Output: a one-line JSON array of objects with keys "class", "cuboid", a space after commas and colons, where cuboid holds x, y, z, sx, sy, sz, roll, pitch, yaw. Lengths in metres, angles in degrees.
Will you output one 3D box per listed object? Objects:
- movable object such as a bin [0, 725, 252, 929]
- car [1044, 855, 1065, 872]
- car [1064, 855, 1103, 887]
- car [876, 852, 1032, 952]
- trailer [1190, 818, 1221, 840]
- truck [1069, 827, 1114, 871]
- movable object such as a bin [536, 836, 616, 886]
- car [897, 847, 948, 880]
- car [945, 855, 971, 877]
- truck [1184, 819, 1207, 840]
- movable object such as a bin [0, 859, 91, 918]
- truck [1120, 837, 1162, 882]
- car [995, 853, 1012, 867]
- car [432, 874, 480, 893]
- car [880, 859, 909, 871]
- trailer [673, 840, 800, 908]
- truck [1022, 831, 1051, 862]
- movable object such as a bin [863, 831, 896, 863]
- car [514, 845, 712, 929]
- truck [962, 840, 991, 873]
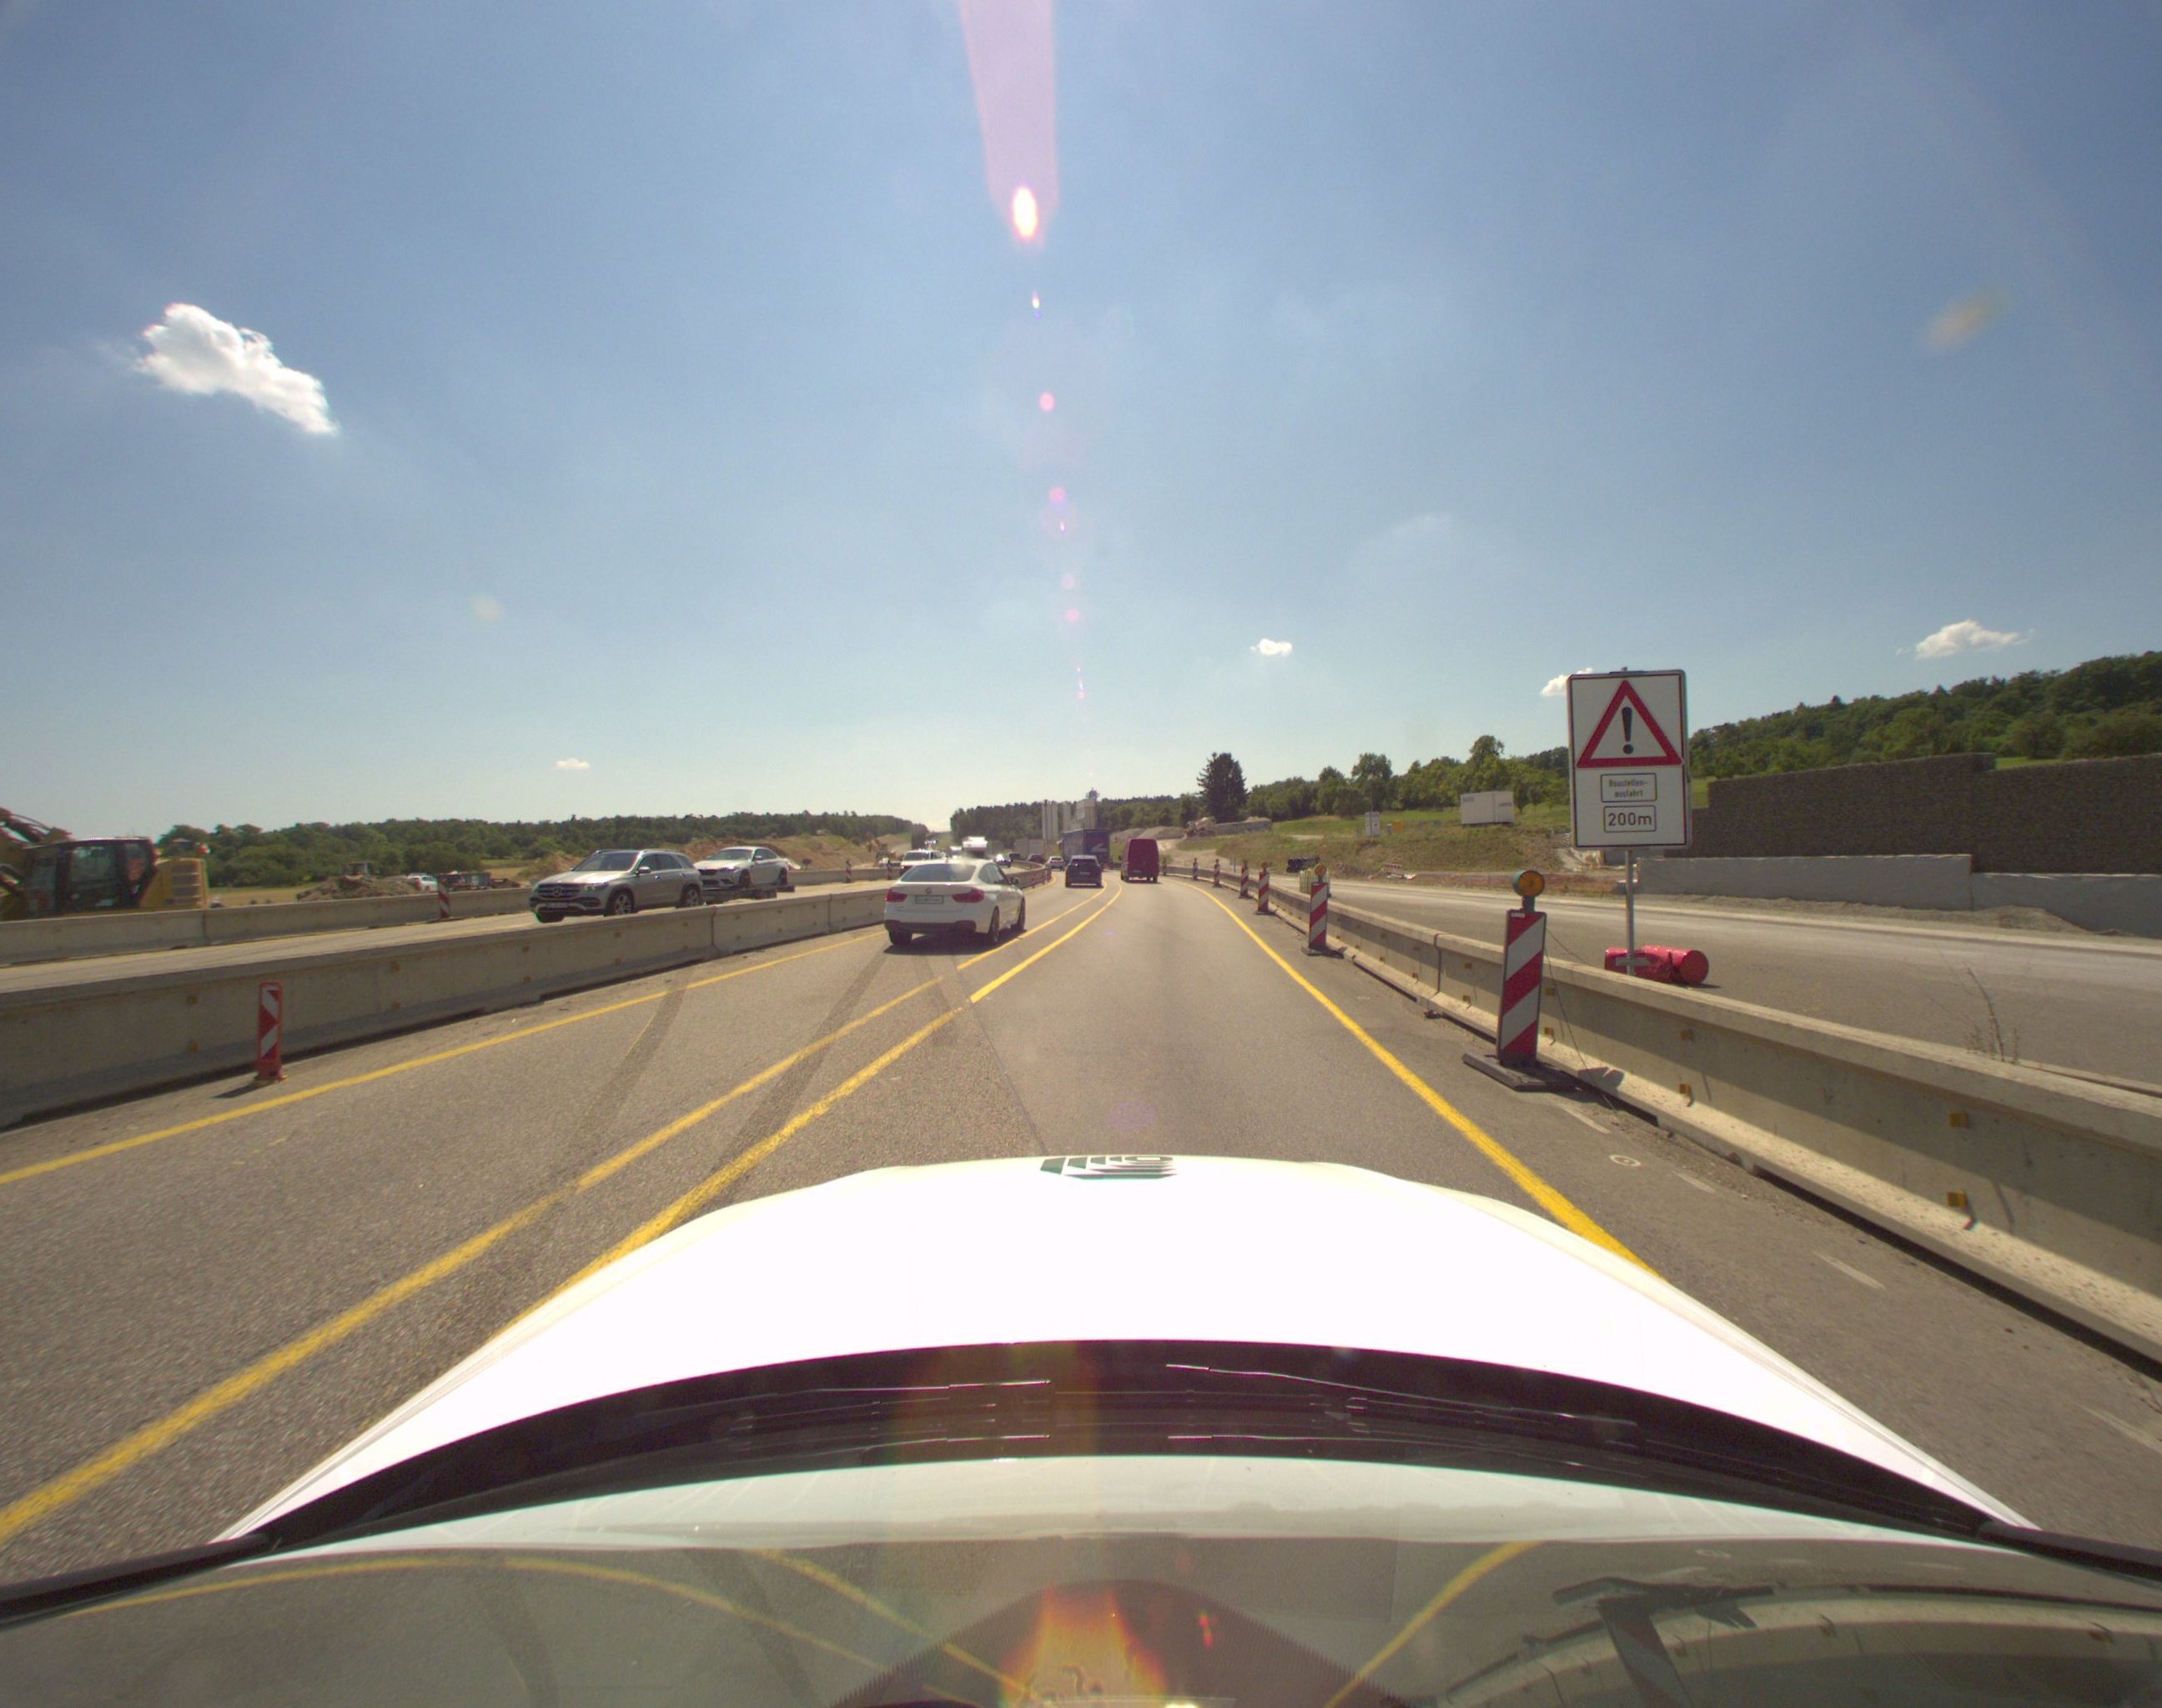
[{"class": "movable object such as a bin", "cuboid": [-24.368, -0.537, 17.310, 2.906, 4.329, 9.353, -1, 0, 10]}, {"class": "car", "cuboid": [-2.678, 0.925, 82.199, 1.800, 1.579, 3.990, -1, 0, -7]}, {"class": "car", "cuboid": [0.189, 0.821, 41.655, 1.788, 1.534, 3.934, -1, 0, 3]}, {"class": "car", "cuboid": [-2.178, 0.757, 15.512, 1.787, 1.534, 5.079, 1, 0, 4]}, {"class": "trailer", "cuboid": [23.934, -4.805, 156.838, 2.766, 4.114, 6.698, -1, 0, -21]}, {"class": "truck", "cuboid": [0.918, -0.492, 81.844, 3.015, 4.153, 8.244, -1, 0, -10]}, {"class": "movable object such as a bin", "cuboid": [-32.853, 0.435, 53.159, 1.980, 3.141, 4.291, -1, 0, 12]}, {"class": "car", "cuboid": [-9.905, 0.545, 51.382, 1.857, 1.953, 4.898, -1, 0, 4]}, {"class": "car", "cuboid": [-9.838, 0.940, 65.393, 1.716, 1.627, 4.330, -1, 0, -4]}, {"class": "truck", "cuboid": [22.558, -4.802, 160.413, 2.755, 4.095, 4.071, -1, 0, -21]}, {"class": "movable object such as a bin", "cuboid": [-58.858, 1.889, 45.203, 1.980, 3.141, 4.500, -1, 0, 12]}, {"class": "truck", "cuboid": [3.654, 0.325, 51.050, 2.105, 2.633, 6.483, -1, 0, 0]}, {"class": "car", "cuboid": [-9.492, 0.697, 99.680, 1.655, 1.605, 4.396, -1, 0, 0]}, {"class": "car", "cuboid": [-53.571, 2.485, 69.881, 1.614, 1.409, 4.424, -1, 0, -15]}, {"class": "car", "cuboid": [-23.735, 1.351, 103.603, 3.217, 1.455, 1.530, -1, 0, -39]}, {"class": "trailer", "cuboid": [-11.230, 0.600, 26.968, 1.856, 2.022, 4.445, -1, 0, 7]}, {"class": "truck", "cuboid": [-7.039, -1.132, 127.524, 3.681, 4.691, 9.727, -1, 0, -8]}, {"class": "movable object such as a bin", "cuboid": [-50.369, -1.828, 203.948, 7.641, 7.713, 3.432, -1, 0, -12]}, {"class": "car", "cuboid": [-11.710, 0.739, 20.872, 1.857, 1.806, 4.912, -3, 0, 4]}, {"class": "truck", "cuboid": [-10.325, 0.200, 81.067, 2.437, 3.071, 7.235, -1, 0, -5]}]
